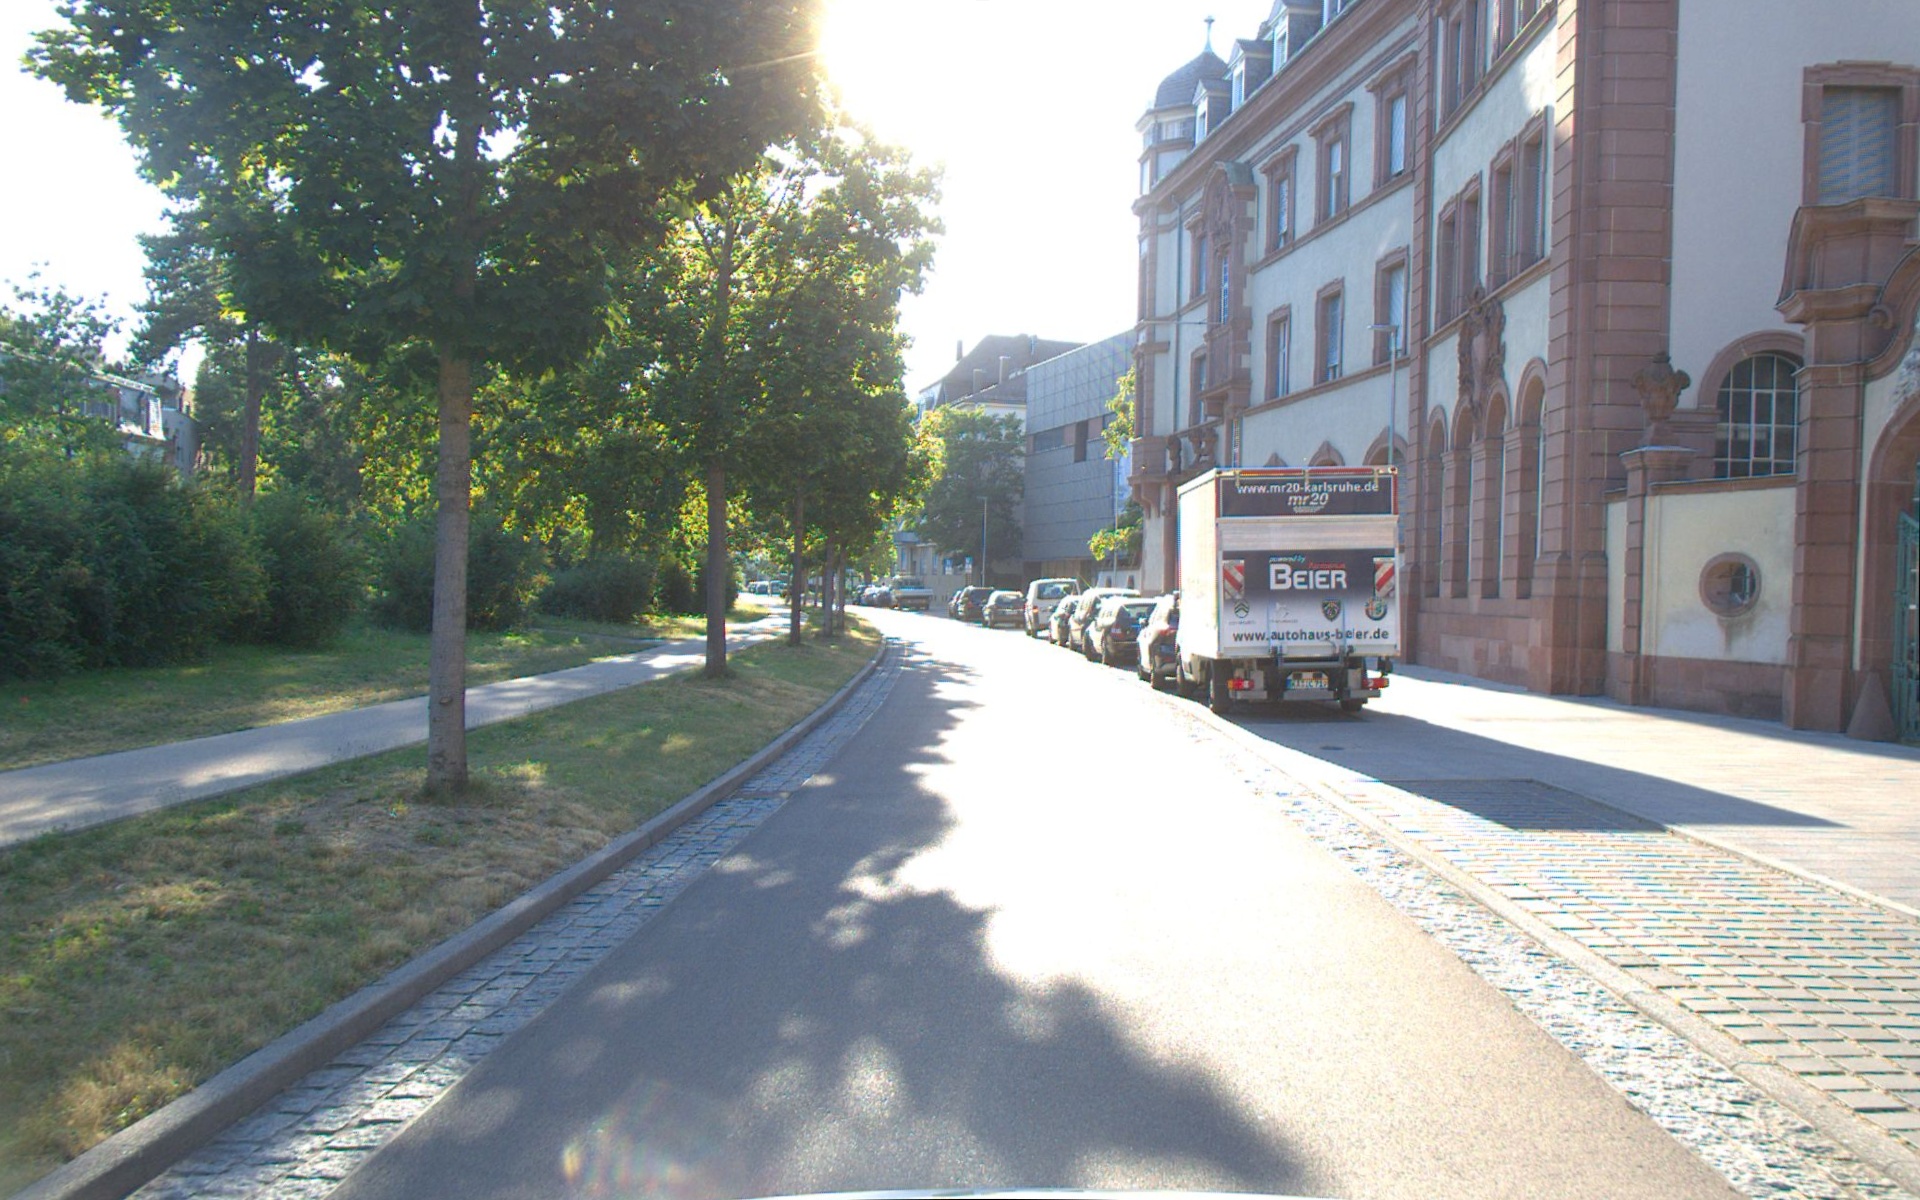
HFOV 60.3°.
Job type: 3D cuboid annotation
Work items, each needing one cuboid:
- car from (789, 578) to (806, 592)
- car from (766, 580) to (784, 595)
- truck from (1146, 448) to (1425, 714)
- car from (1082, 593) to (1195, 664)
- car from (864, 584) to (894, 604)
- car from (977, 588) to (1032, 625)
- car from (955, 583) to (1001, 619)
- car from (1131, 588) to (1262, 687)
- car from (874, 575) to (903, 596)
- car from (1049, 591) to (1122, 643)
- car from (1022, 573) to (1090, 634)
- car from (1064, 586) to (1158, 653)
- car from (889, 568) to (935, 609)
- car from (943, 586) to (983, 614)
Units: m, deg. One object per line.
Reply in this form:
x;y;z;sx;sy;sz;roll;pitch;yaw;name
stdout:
-18.047;-1.640;183.972;1.760;1.536;3.994;1;1;-7;car
-22.078;-1.515;197.287;1.761;1.754;3.991;1;1;-10;car
4.289;-0.263;23.087;2.570;3.175;6.086;-1;1;-1;truck
3.983;0.606;37.682;1.834;1.461;4.520;-1;1;-3;car
-6.152;-0.488;125.676;1.661;1.465;4.092;0;1;-12;car
1.859;0.255;70.952;1.714;1.492;4.471;2;0;-6;car
0.866;0.014;81.292;1.692;1.698;4.107;-1;1;-8;car
4.060;0.589;29.014;1.732;1.557;4.573;-1;1;1;car
-5.250;-1.082;121.126;1.661;1.465;3.540;0;1;-12;car
3.630;0.466;48.484;1.645;1.427;4.198;-1;1;-2;car
3.395;0.109;59.124;1.953;2.000;4.848;-2;0;-2;car
3.875;0.465;43.176;1.780;1.630;4.189;-1;1;-4;car
-3.211;-0.792;110.087;2.171;2.574;6.133;-1;1;-10;car
0.160;-0.019;87.635;1.691;1.446;3.901;0;1;-6;car
